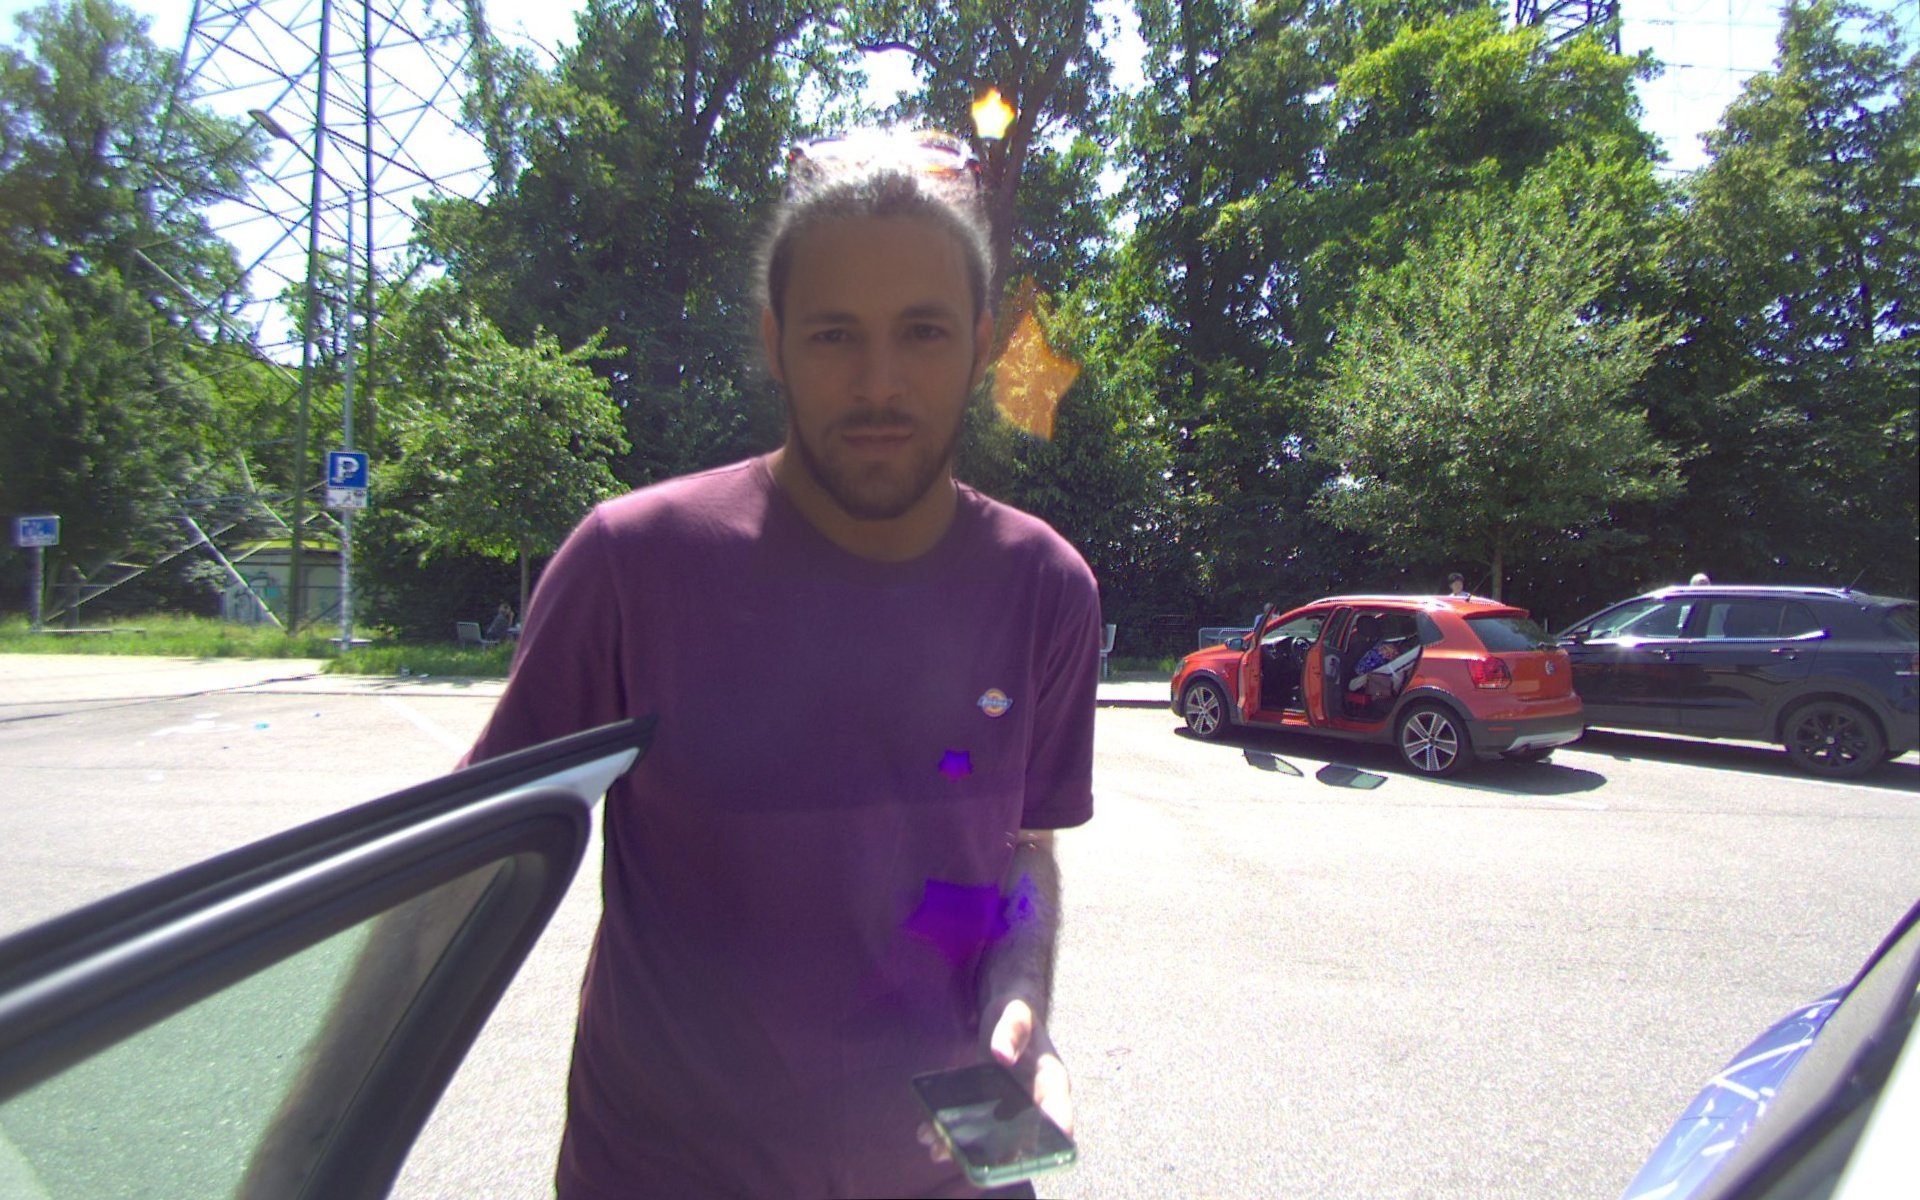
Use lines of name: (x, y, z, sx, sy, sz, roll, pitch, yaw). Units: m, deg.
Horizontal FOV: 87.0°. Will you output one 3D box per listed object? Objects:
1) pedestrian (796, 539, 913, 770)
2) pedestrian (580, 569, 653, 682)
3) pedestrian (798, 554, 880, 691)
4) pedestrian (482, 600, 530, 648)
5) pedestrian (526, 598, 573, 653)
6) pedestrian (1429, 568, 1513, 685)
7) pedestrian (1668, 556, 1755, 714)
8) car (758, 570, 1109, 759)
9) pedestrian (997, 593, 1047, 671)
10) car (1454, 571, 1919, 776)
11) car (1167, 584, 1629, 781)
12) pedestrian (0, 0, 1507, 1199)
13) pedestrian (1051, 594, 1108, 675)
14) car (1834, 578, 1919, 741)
pedestrian: (-0.919, 0.439, 8.675, 0.701, 1.851, 0.906, 1, -1, -27)
pedestrian: (-5.091, 0.370, 14.999, 0.762, 1.614, 0.808, 1, -1, -41)
pedestrian: (-1.652, 0.299, 13.759, 0.786, 1.784, 0.809, 1, -1, -39)
pedestrian: (-10.289, 0.530, 22.932, 0.796, 1.062, 0.714, 1, -1, -43)
pedestrian: (-9.587, 0.580, 23.637, 0.796, 1.253, 0.713, 1, -1, -44)
pedestrian: (7.236, 0.368, 14.354, 0.793, 1.614, 0.716, 1, -1, -4)
pedestrian: (9.327, 0.418, 12.588, 0.672, 1.889, 0.710, 0, -1, 19)
car: (-0.478, 0.540, 10.694, 1.809, 1.588, 4.017, 1, 0, -35)
pedestrian: (1.048, 0.533, 17.180, 0.656, 1.285, 0.655, 1, -1, -17)
car: (7.214, 0.574, 9.833, 1.807, 1.612, 3.967, 1, 0, -38)
car: (3.933, 0.618, 9.646, 1.746, 1.475, 3.710, 1, 0, -33)
pedestrian: (-0.196, 0.400, 0.747, 0.828, 1.797, 0.926, 0, -1, 45)
pedestrian: (1.987, 0.568, 16.924, 0.656, 1.311, 0.832, 1, -1, -17)
car: (10.935, 0.599, 9.381, 1.745, 1.612, 3.972, 1, 0, -32)
